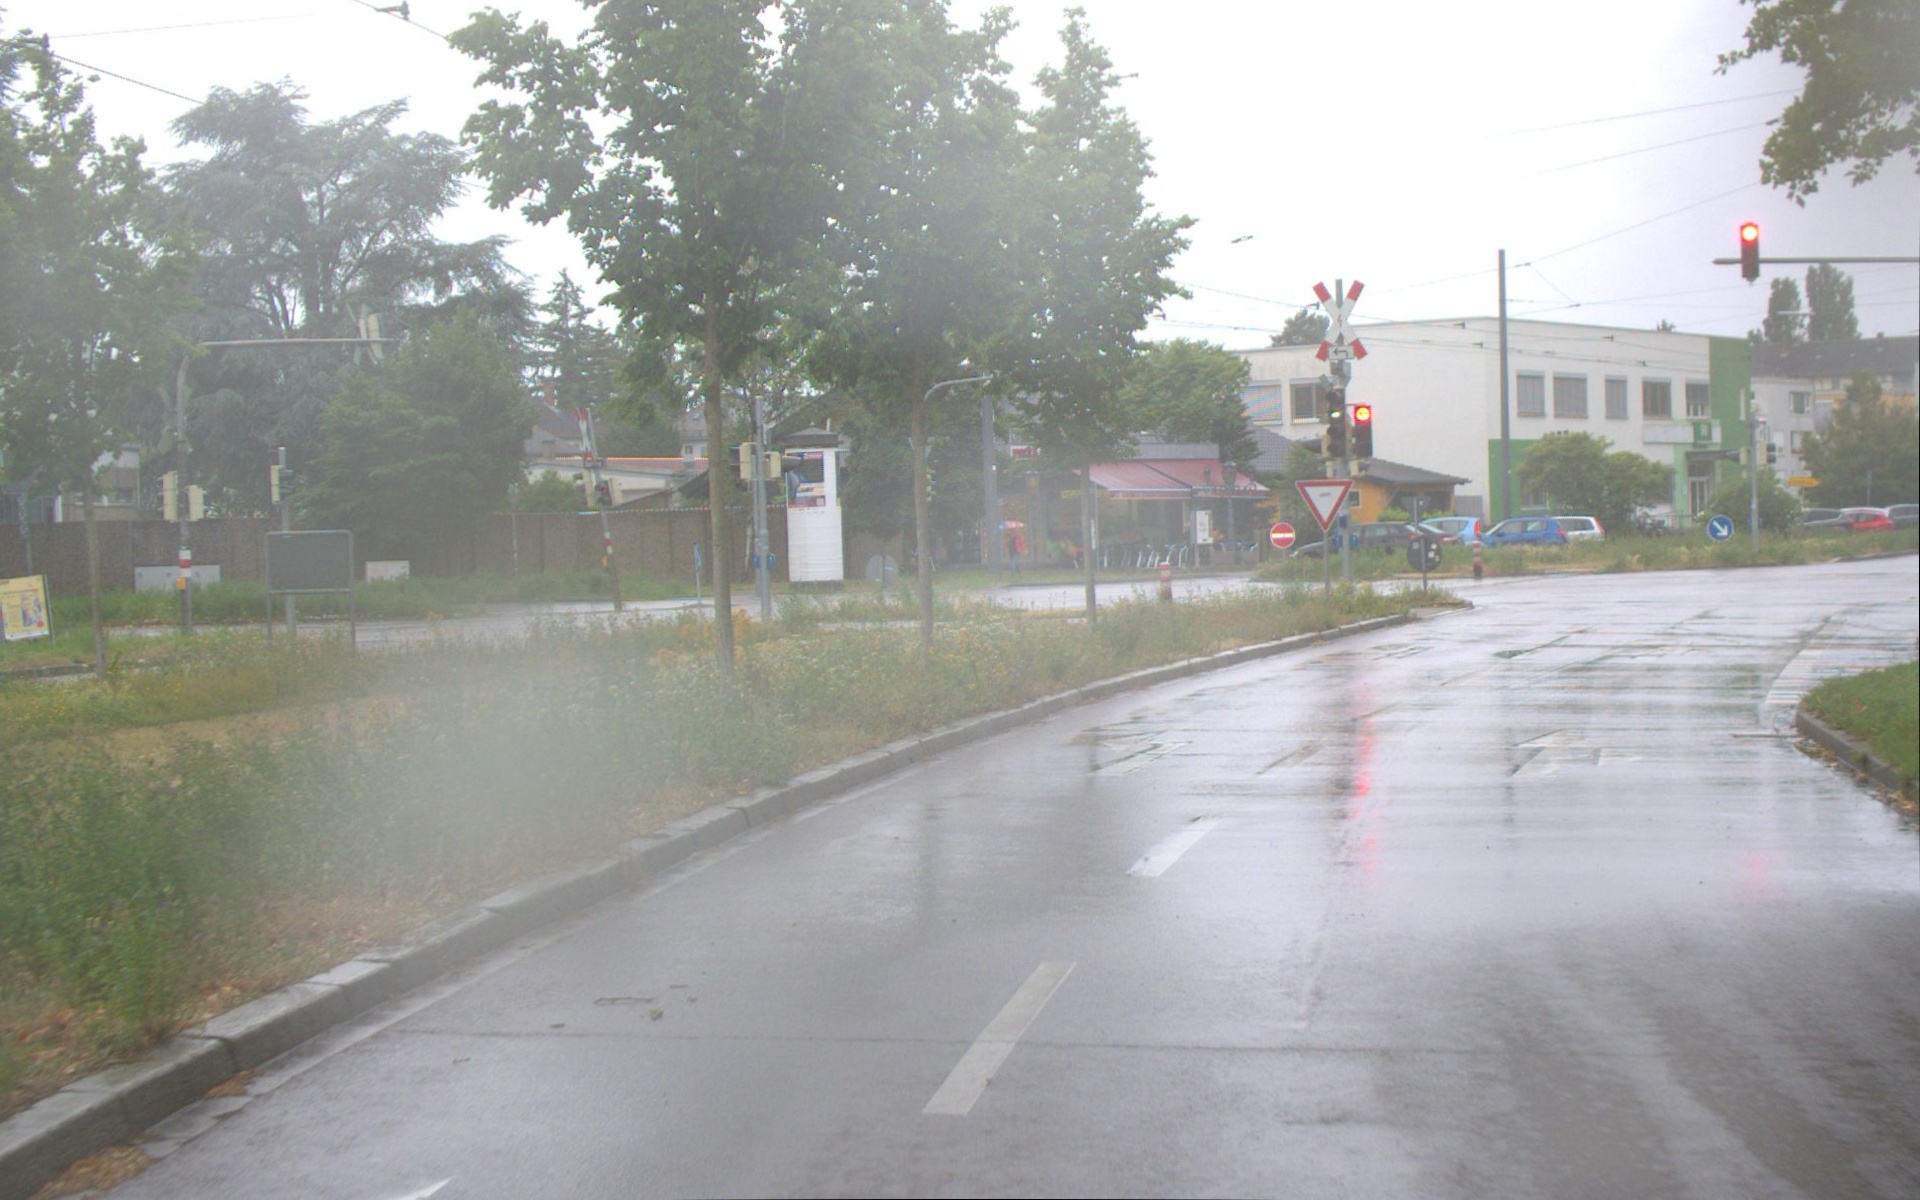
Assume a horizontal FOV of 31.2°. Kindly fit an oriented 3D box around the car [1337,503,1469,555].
[{"bbox_3d":[13.705,-2.196,106.290,3.753,1.437,1.761,-2,1,18],"label":"car"}]

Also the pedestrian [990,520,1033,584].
[{"bbox_3d":[1.450,-1.352,97.009,0.800,1.757,0.909,-3,1,-29],"label":"pedestrian"}]

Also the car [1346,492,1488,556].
[{"bbox_3d":[14.582,-2.424,109.637,4.139,1.853,1.672,-2,1,22],"label":"car"}]

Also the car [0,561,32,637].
[{"bbox_3d":[-20.763,0.050,68.874,3.818,1.494,1.652,-2,1,4],"label":"car"}]

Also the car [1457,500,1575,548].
[{"bbox_3d":[18.381,-2.517,113.695,3.751,1.437,1.762,-2,1,9],"label":"car"}]
